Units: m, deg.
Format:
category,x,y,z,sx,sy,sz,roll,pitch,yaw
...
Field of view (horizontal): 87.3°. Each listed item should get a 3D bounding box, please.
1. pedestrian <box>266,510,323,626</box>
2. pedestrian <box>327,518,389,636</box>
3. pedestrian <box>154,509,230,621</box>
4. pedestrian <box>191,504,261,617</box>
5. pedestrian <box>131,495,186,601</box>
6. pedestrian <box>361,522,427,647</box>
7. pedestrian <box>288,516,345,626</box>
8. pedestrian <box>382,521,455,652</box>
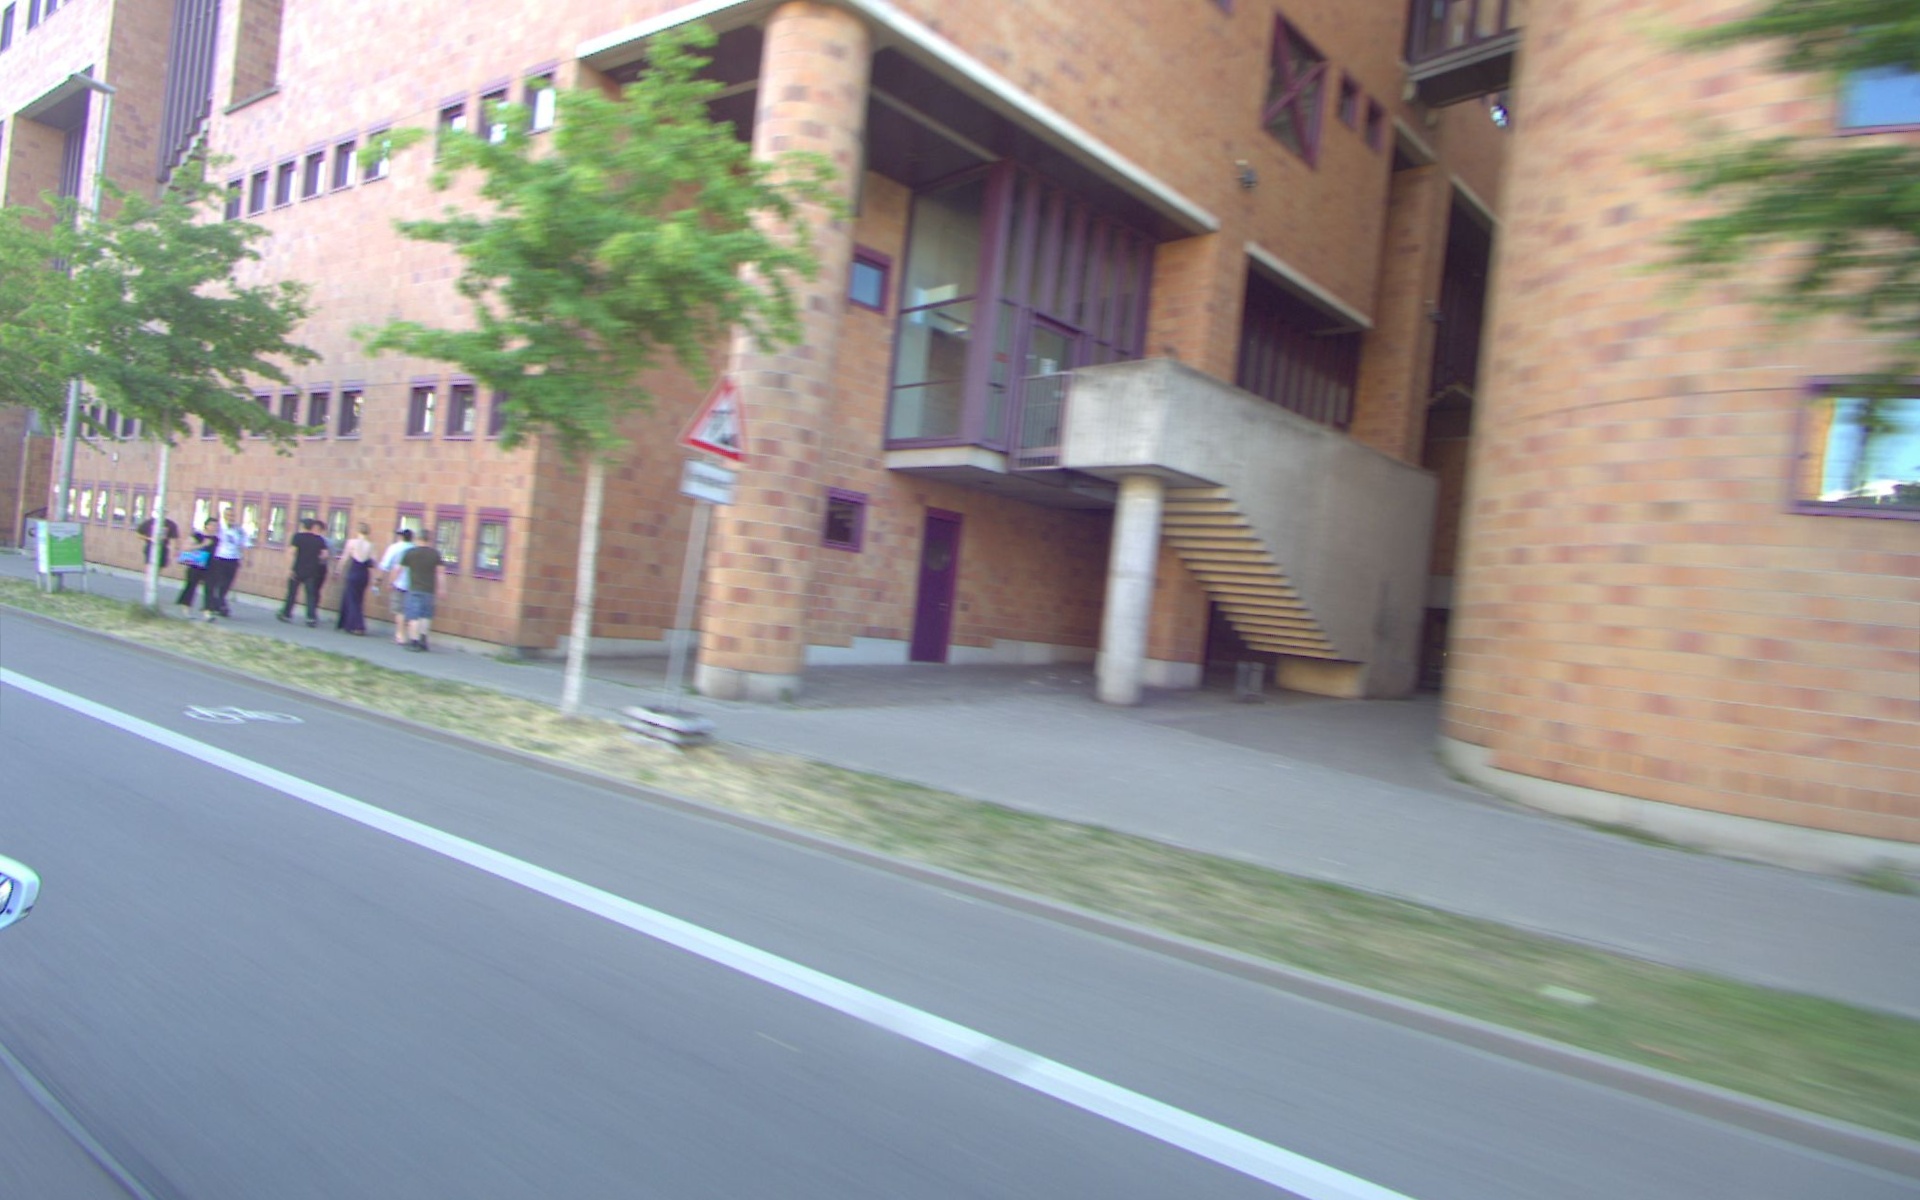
category,x,y,z,sx,sy,sz,roll,pitch,yaw
pedestrian,-10.638,-0.513,16.090,0.458,1.778,0.535,7,1,43
pedestrian,-9.436,-0.362,15.762,0.686,1.778,0.535,7,1,44
pedestrian,-11.791,-0.531,15.442,0.691,1.625,0.518,6,0,20
pedestrian,-11.907,-0.638,16.323,0.630,1.734,0.572,6,0,28
pedestrian,-14.024,-0.898,17.600,0.415,1.778,0.536,6,1,36
pedestrian,-8.451,-0.239,15.016,0.686,1.778,0.535,7,1,44
pedestrian,-10.840,-0.488,16.944,0.415,1.778,0.537,6,1,32
pedestrian,-7.762,-0.194,14.422,0.727,1.778,0.689,6,0,-32
